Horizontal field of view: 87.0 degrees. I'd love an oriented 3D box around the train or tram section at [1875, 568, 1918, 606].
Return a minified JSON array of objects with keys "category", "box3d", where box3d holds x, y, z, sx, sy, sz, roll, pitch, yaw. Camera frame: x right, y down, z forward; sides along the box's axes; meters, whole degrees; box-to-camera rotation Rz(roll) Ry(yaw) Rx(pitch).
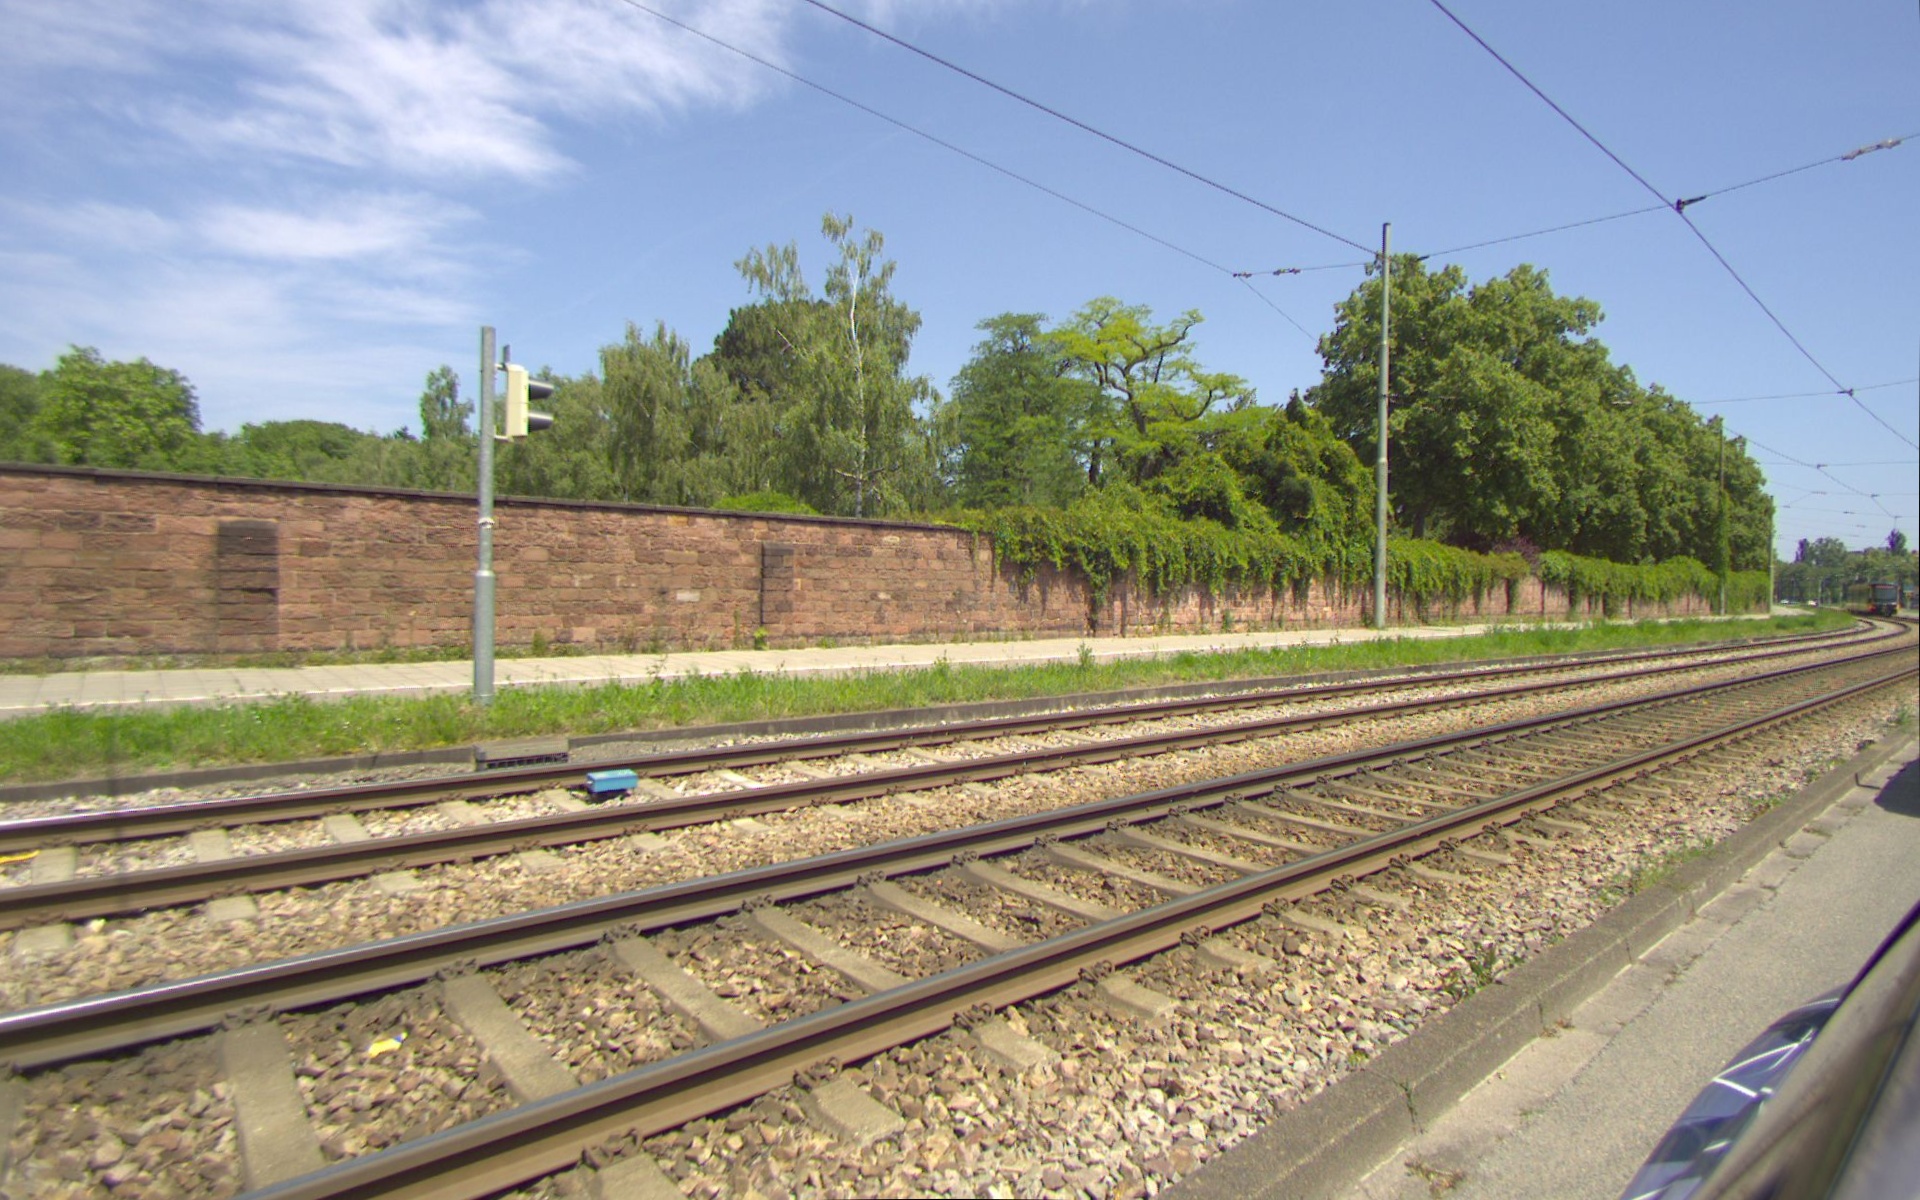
[{"category":"train or tram section","box3d":[100.449,-1.439,108.433,2.808,3.855,14.031,0,1,45]}]
